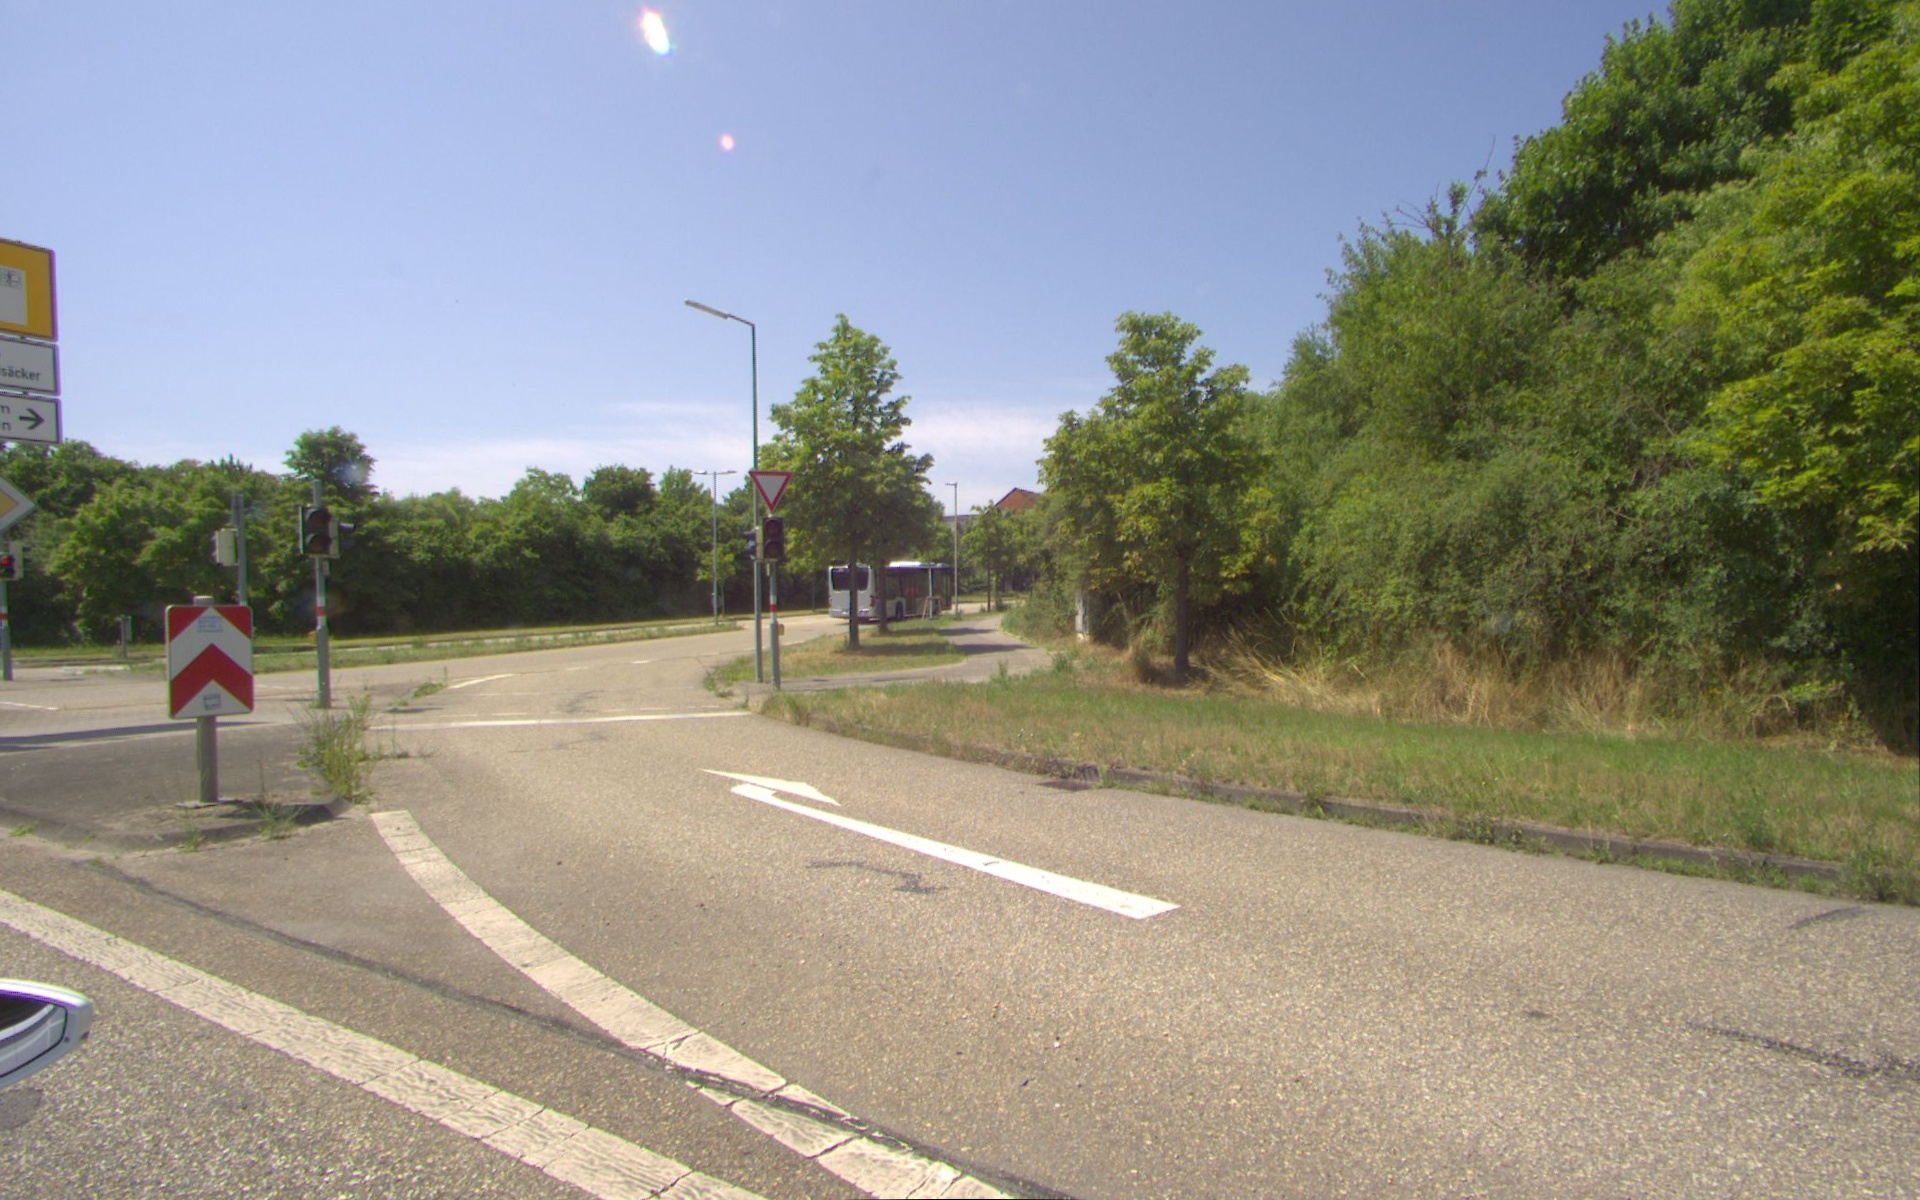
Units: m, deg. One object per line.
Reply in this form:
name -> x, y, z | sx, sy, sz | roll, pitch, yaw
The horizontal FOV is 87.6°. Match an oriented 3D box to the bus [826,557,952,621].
bus -> -3.561, -0.520, 55.010 | 2.584, 3.127, 12.060 | 0, 0, 18
